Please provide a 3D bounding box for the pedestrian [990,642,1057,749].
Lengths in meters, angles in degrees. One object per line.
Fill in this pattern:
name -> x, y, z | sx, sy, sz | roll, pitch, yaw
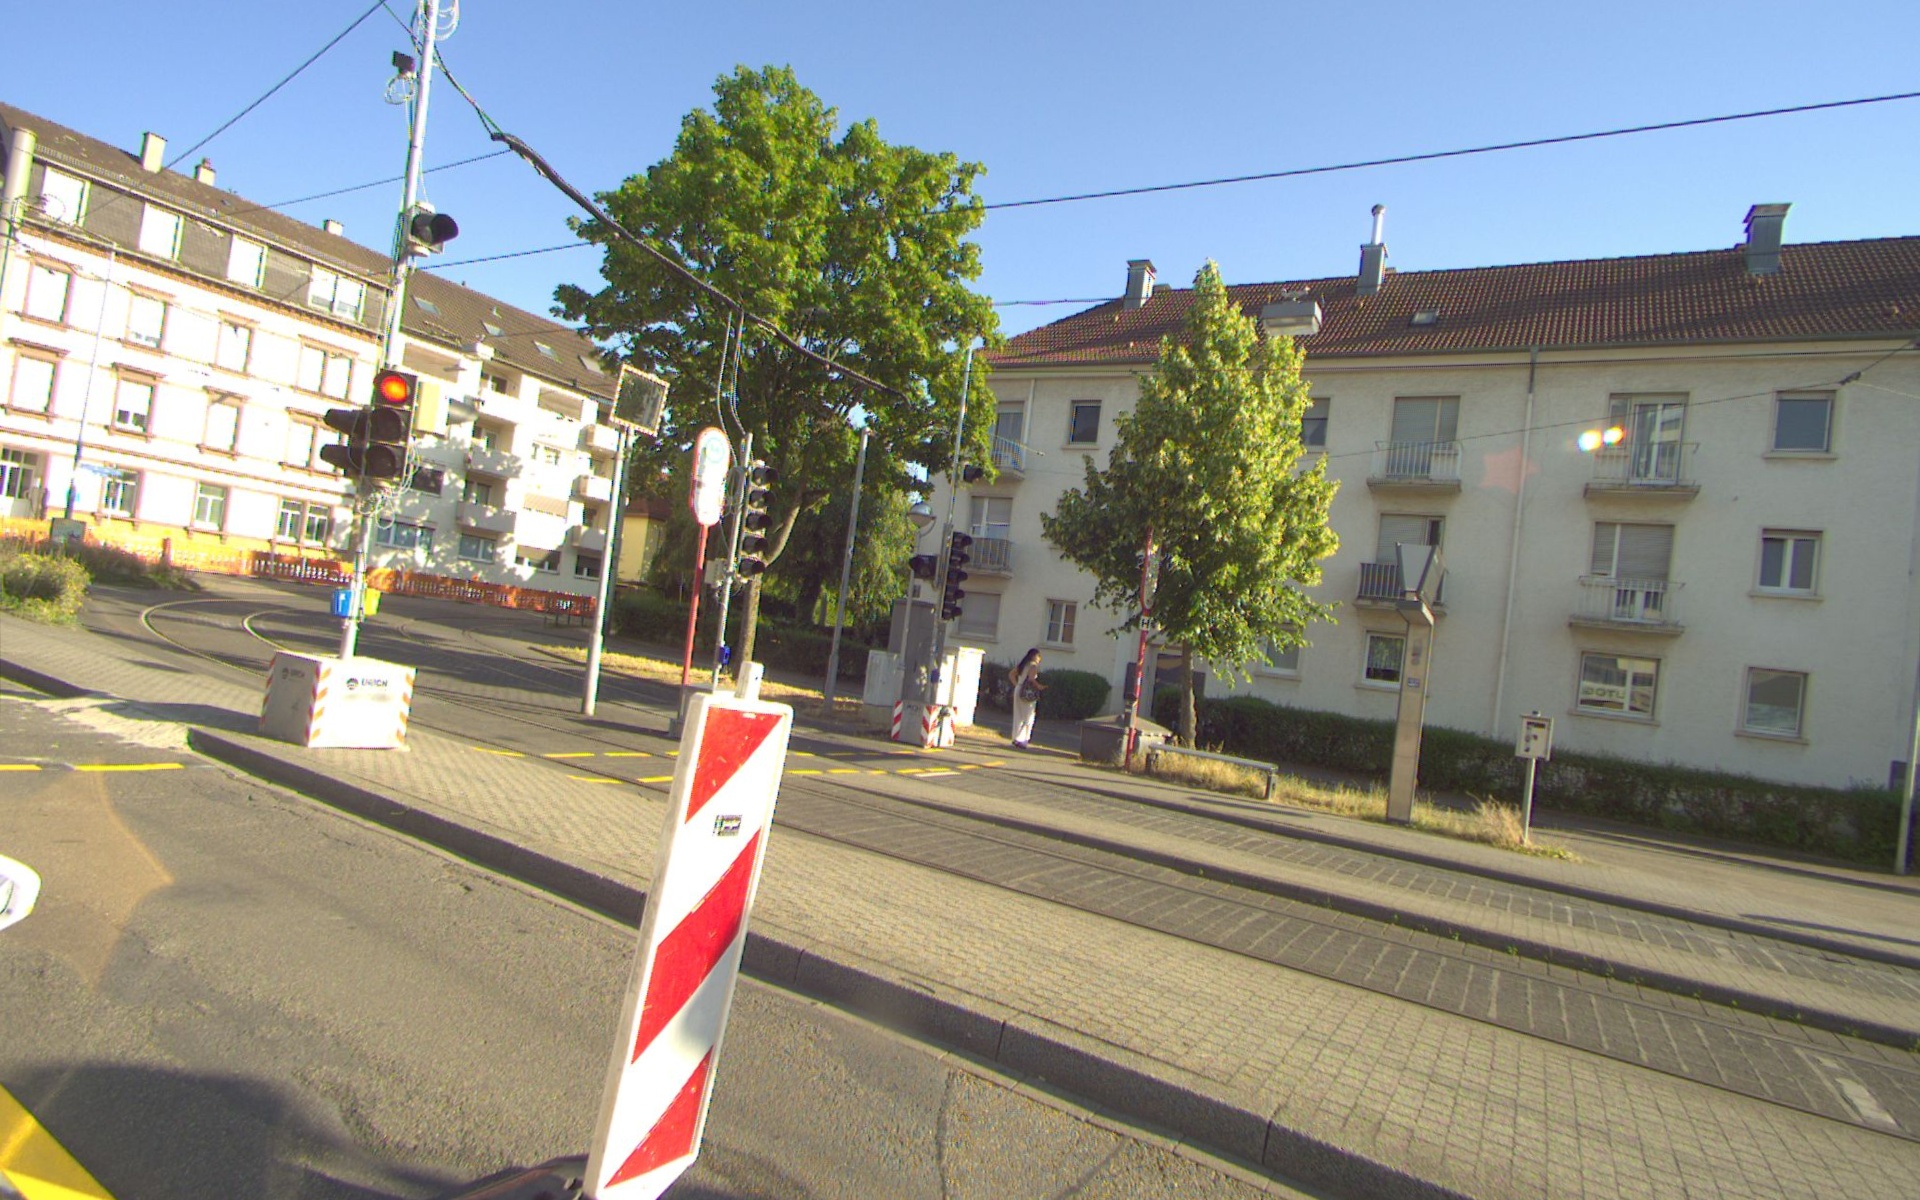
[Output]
pedestrian -> 1.046, 1.568, 16.740 | 0.778, 1.639, 0.826 | 7, -1, -9
